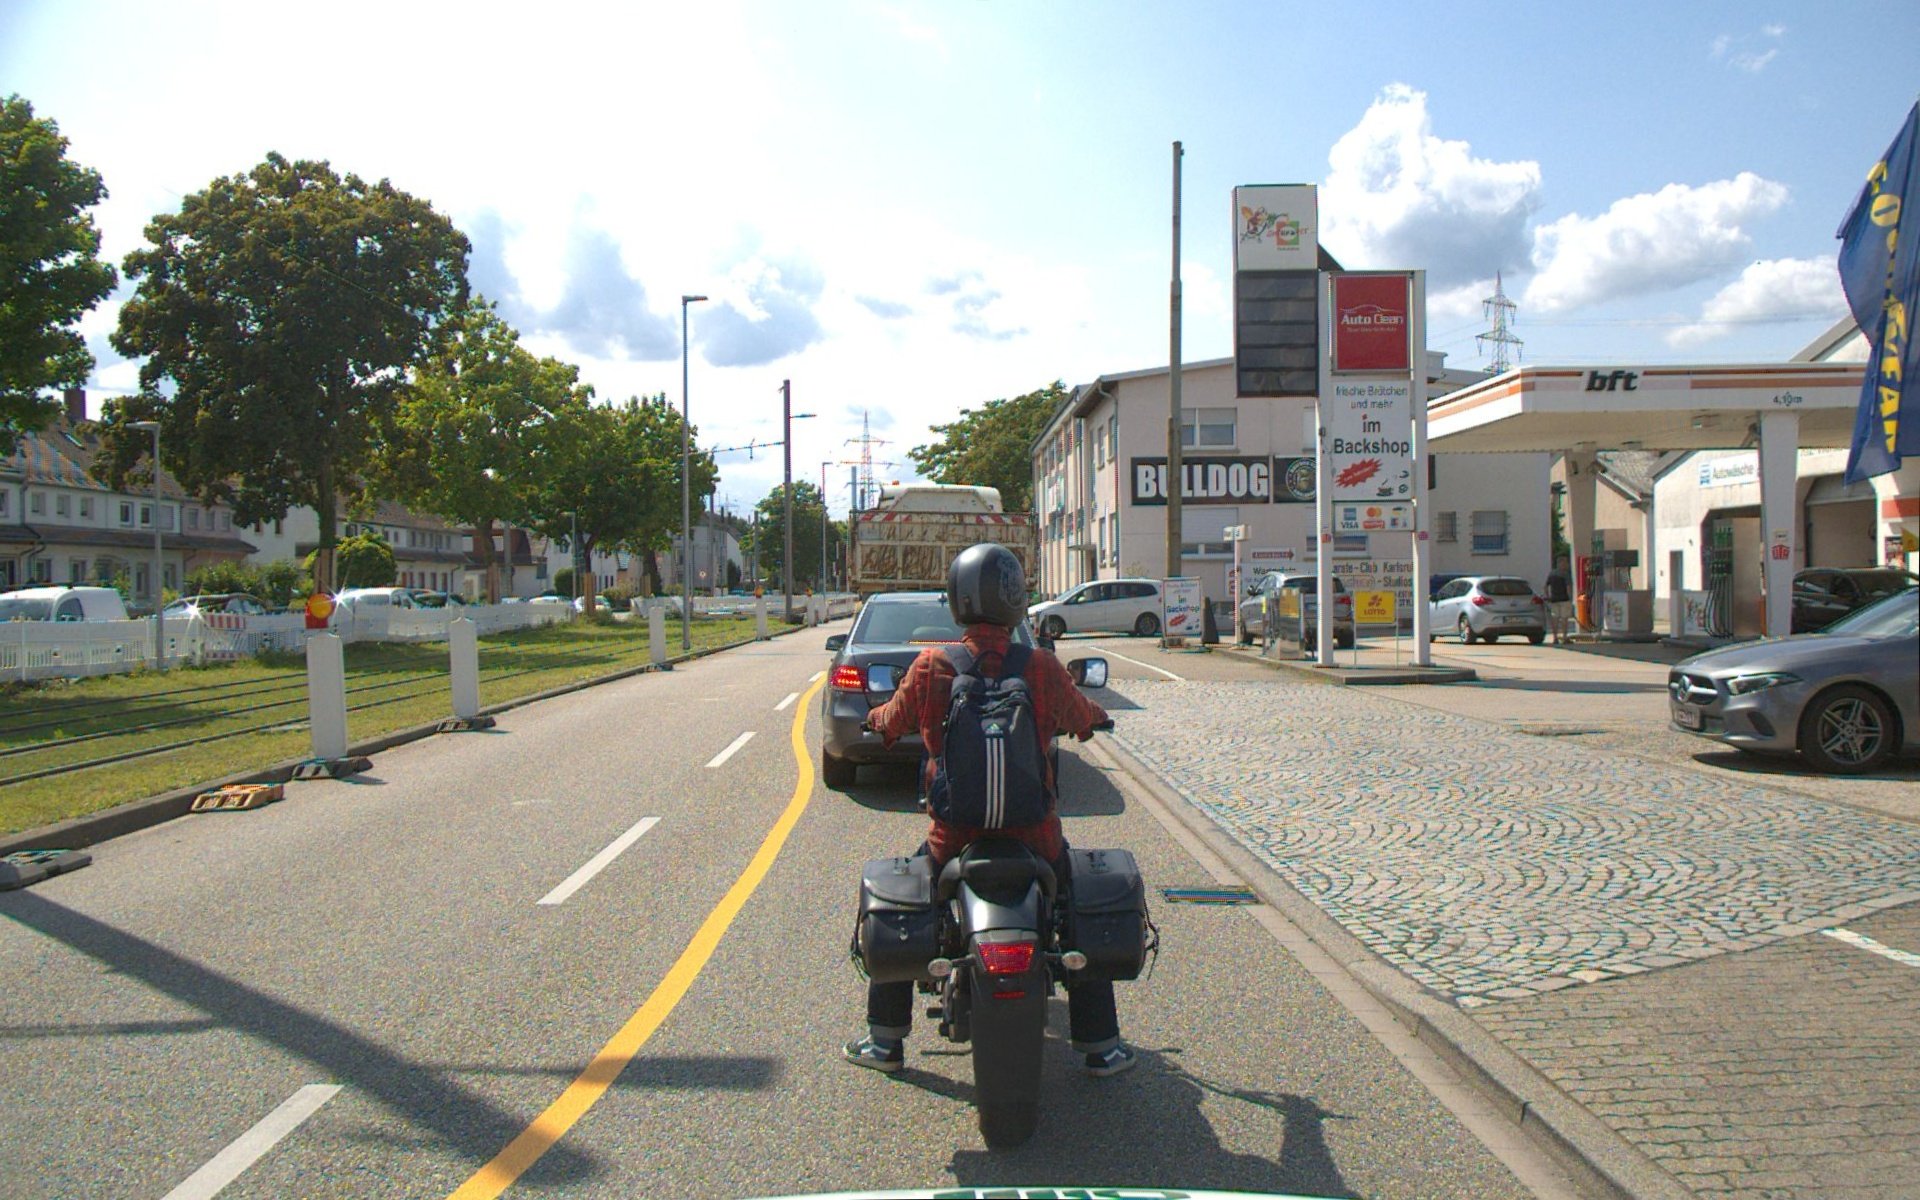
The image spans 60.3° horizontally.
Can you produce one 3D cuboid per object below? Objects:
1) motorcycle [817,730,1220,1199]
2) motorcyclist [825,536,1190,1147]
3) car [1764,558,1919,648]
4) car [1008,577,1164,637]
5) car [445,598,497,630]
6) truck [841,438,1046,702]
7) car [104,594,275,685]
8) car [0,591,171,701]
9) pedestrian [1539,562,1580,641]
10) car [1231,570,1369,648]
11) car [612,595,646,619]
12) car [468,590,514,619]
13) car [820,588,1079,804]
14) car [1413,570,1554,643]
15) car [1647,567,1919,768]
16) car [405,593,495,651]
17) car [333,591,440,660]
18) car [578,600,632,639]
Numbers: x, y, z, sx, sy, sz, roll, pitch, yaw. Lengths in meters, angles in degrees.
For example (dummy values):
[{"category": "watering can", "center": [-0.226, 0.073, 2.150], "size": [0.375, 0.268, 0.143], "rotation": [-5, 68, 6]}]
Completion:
[{"category": "motorcycle", "center": [0.124, 0.999, 5.318], "size": [0.959, 0.913, 2.653], "rotation": [-1, 0, -1]}, {"category": "motorcyclist", "center": [0.122, 0.645, 5.012], "size": [0.959, 1.630, 1.087], "rotation": [-1, 0, -1]}, {"category": "car", "center": [16.617, 0.024, 30.317], "size": [1.770, 1.529, 3.832], "rotation": [-1, 0, -3]}, {"category": "car", "center": [3.567, 0.181, 47.088], "size": [4.152, 1.570, 1.669], "rotation": [-1, 0, -9]}, {"category": "car", "center": [-28.305, 0.769, 95.827], "size": [1.740, 1.753, 4.127], "rotation": [-1, 0, -1]}, {"category": "truck", "center": [-0.264, -0.423, 25.360], "size": [2.585, 3.354, 8.055], "rotation": [-1, 0, -1]}, {"category": "car", "center": [-16.675, 0.810, 36.019], "size": [1.740, 1.805, 4.227], "rotation": [-1, 0, -1]}, {"category": "car", "center": [-16.416, 0.784, 30.383], "size": [1.740, 1.853, 4.363], "rotation": [-1, 0, -1]}, {"category": "pedestrian", "center": [12.952, 0.029, 35.708], "size": [0.696, 1.685, 0.546], "rotation": [-1, 0, 35]}, {"category": "car", "center": [7.456, 0.174, 36.626], "size": [1.636, 1.589, 4.236], "rotation": [-1, 0, -8]}, {"category": "car", "center": [-24.972, 0.535, 124.845], "size": [1.740, 1.753, 4.127], "rotation": [-1, 0, -1]}, {"category": "car", "center": [-29.432, 0.265, 103.944], "size": [1.740, 1.753, 4.127], "rotation": [-1, 0, -1]}, {"category": "car", "center": [-0.102, 0.658, 13.580], "size": [1.786, 1.478, 3.999], "rotation": [1, 0, -1]}, {"category": "car", "center": [11.720, 0.118, 37.262], "size": [1.770, 1.529, 3.831], "rotation": [-1, 0, -3]}, {"category": "car", "center": [7.759, 0.458, 12.789], "size": [4.183, 1.440, 1.675], "rotation": [-1, 0, 3]}, {"category": "car", "center": [-16.975, 0.696, 55.254], "size": [1.740, 1.837, 4.127], "rotation": [-1, 0, -1]}, {"category": "car", "center": [-16.942, 0.713, 49.076], "size": [1.740, 1.900, 4.127], "rotation": [-1, 0, -1]}, {"category": "car", "center": [-17.060, 0.902, 79.678], "size": [1.740, 1.753, 4.127], "rotation": [-1, 0, -1]}]
